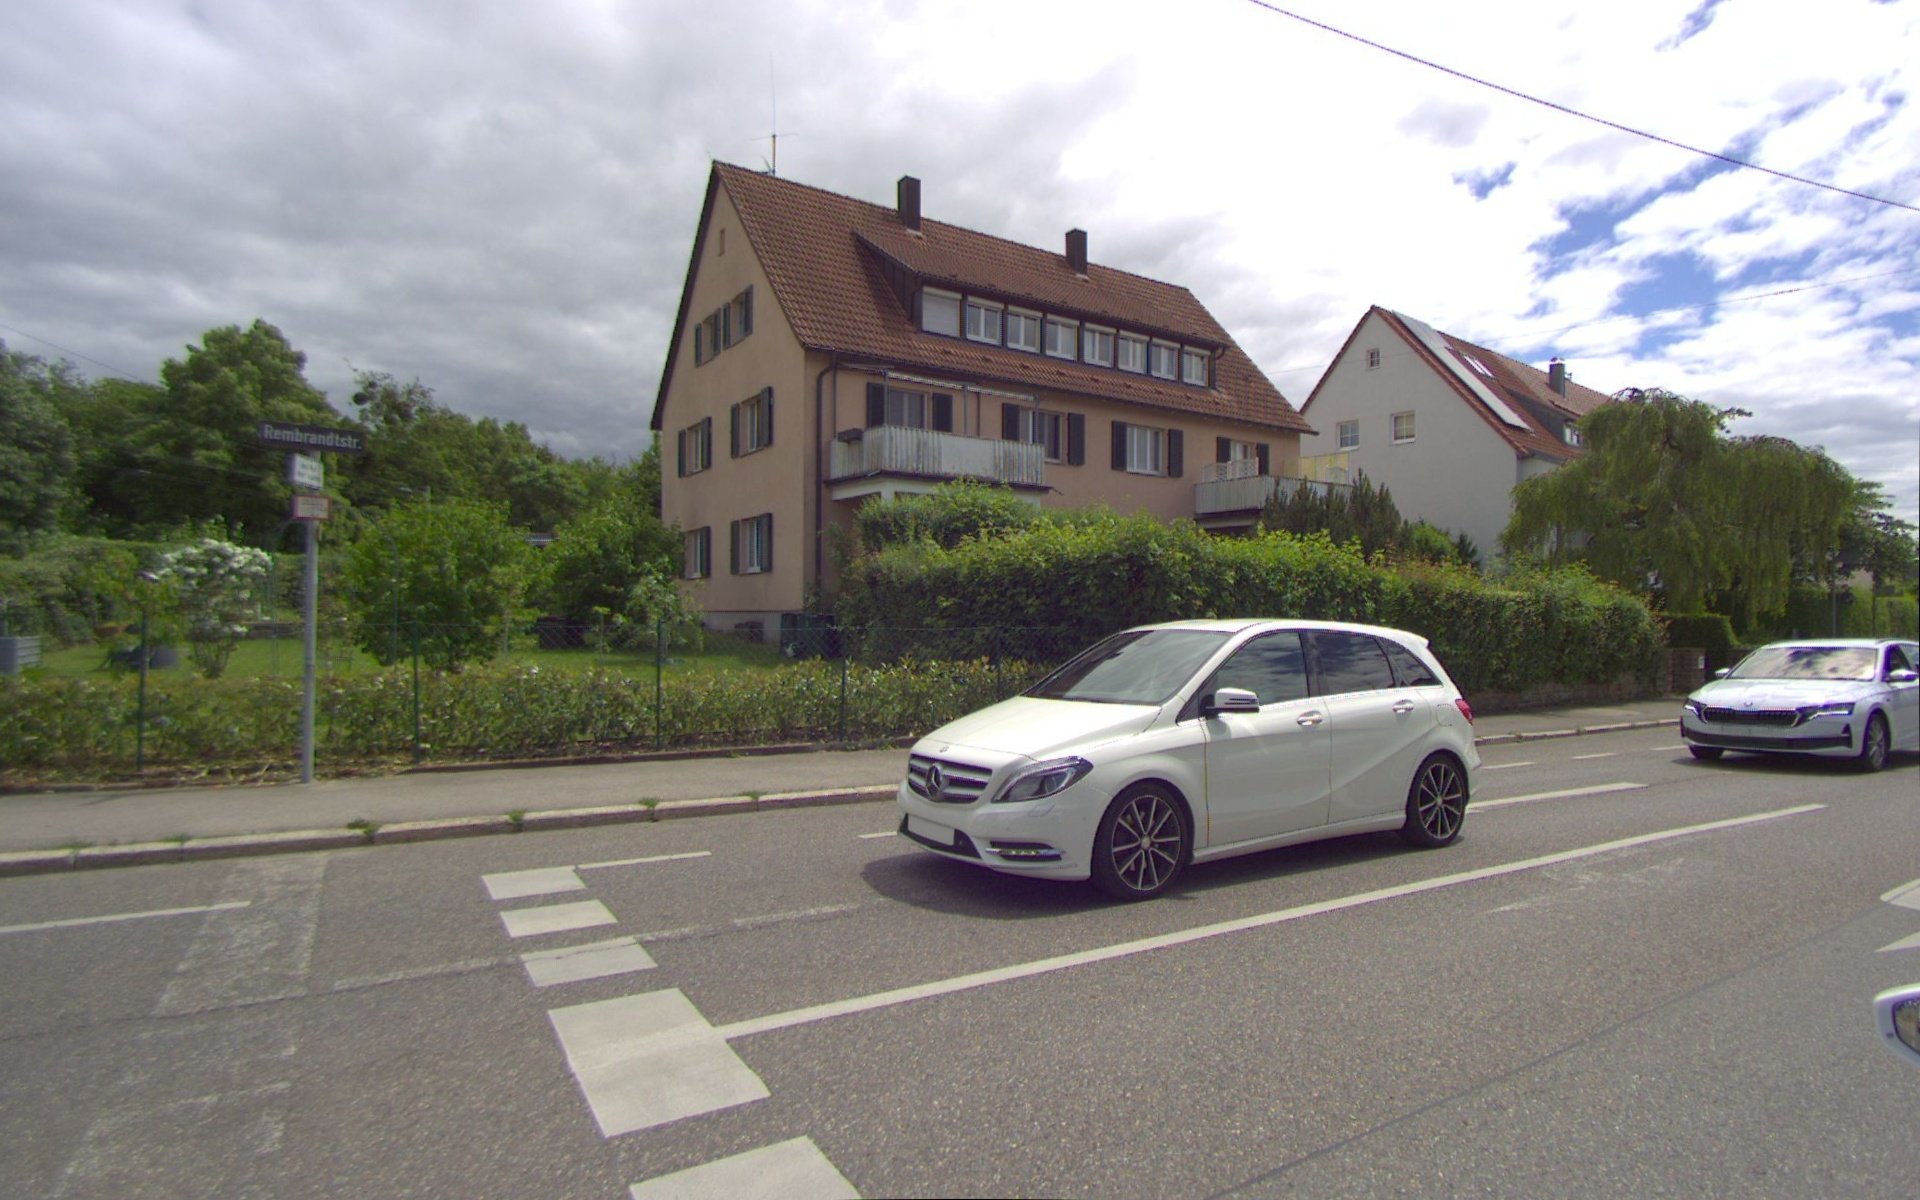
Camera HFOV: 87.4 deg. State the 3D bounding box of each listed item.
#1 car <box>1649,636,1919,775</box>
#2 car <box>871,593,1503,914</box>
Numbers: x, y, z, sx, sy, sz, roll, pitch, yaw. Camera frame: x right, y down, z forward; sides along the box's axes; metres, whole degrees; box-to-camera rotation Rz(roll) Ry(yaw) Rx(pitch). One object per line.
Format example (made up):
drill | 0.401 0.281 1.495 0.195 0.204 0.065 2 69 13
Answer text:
car | 10.626 1.198 12.380 4.469 1.448 1.767 2 -4 -30
car | 1.633 0.835 6.804 4.122 1.582 1.766 2 -3 -31
